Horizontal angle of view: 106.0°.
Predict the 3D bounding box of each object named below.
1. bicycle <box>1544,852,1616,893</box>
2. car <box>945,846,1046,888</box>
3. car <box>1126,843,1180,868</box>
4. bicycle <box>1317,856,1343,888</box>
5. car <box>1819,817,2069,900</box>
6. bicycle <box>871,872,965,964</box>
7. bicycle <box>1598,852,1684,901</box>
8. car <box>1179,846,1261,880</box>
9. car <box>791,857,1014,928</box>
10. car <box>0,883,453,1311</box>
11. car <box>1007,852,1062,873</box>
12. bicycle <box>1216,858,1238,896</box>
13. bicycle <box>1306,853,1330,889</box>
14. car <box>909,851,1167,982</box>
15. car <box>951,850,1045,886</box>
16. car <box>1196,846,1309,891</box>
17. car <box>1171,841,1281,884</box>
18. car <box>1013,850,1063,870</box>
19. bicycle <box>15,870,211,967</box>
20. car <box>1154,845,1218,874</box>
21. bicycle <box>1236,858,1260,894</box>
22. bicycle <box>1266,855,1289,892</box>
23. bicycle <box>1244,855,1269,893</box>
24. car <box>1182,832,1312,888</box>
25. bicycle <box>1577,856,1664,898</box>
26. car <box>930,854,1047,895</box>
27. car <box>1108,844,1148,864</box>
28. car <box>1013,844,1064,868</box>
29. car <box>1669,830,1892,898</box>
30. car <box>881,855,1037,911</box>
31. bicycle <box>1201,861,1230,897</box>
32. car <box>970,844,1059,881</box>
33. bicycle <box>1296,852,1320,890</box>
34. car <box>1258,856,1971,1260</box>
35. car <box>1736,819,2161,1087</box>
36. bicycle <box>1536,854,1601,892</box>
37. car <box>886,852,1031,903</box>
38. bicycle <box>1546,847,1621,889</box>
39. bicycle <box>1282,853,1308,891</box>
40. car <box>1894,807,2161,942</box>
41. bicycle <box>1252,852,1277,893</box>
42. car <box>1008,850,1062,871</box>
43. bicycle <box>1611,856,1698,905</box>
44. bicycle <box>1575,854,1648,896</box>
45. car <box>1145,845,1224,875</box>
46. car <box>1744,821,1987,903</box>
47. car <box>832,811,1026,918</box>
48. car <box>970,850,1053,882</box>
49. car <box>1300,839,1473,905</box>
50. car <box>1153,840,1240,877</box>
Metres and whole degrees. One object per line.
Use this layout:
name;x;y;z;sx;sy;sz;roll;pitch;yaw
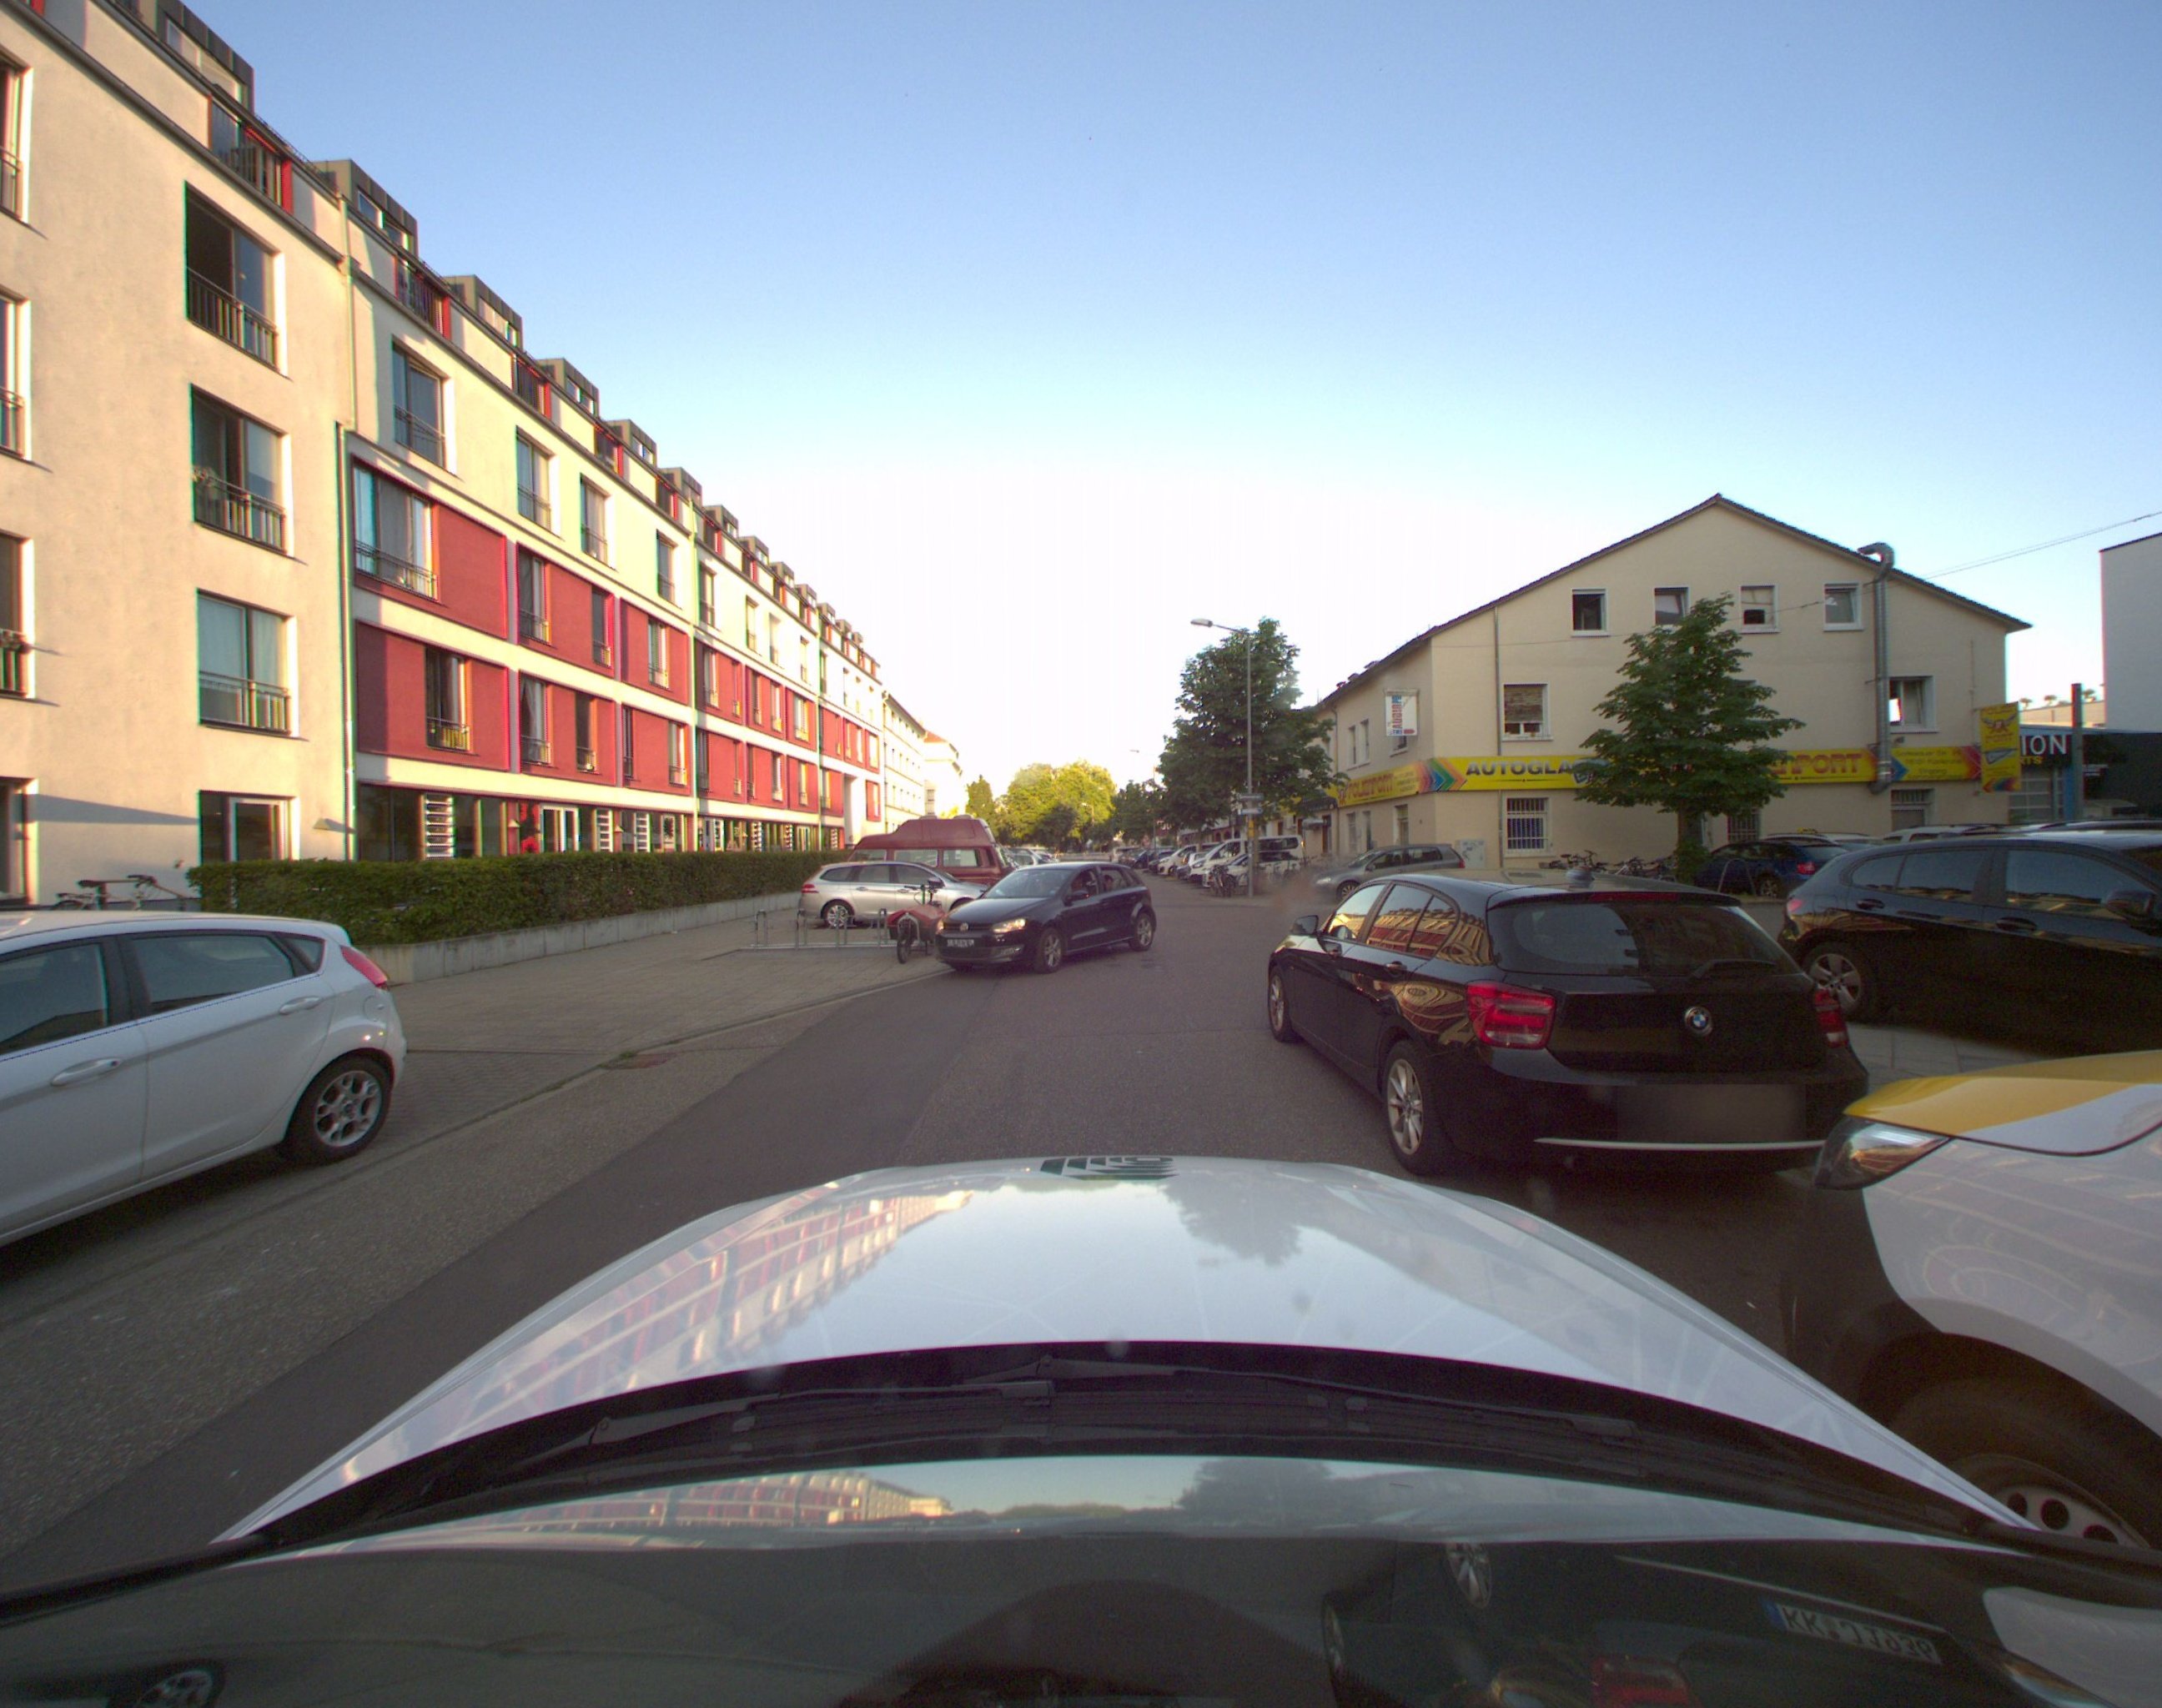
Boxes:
bicycle;13.456;0.488;21.986;1.725;1.070;0.343;0;2;-1
car;-3.769;0.562;36.399;4.242;1.836;2.000;0;0;0
car;6.339;0.147;71.971;4.470;1.911;1.685;-3;0;-4
bicycle;8.318;0.594;27.228;0.386;1.017;1.482;-2;0;1
car;22.190;0.148;21.264;1.866;1.902;4.331;-2;-1;0
bicycle;-2.501;0.931;12.908;0.804;1.221;2.867;0;0;2
bicycle;13.477;0.538;19.602;1.917;1.128;0.427;-1;1;-8
car;7.172;0.460;42.209;3.897;1.526;1.940;-3;0;1
car;-3.848;0.818;18.220;4.604;1.460;1.879;0;0;-3
car;-4.924;0.973;3.339;1.646;1.530;4.014;-1;0;-2
car;-3.639;0.687;64.141;4.243;1.622;2.000;0;0;0
bicycle;4.882;0.749;27.309;0.384;1.200;2.018;-2;0;1
bicycle;7.911;0.540;27.187;0.351;1.143;1.482;-2;0;1
car;-0.426;0.751;11.776;1.636;1.455;3.967;-1;1;34
car;-3.907;0.664;38.873;4.242;1.660;2.000;0;0;0
car;6.562;0.525;31.449;3.908;1.451;1.767;-3;0;-2
car;6.966;0.386;39.554;4.926;1.742;2.050;-3;0;1
car;-3.729;0.488;71.657;4.242;1.749;2.000;0;0;0
bicycle;-12.033;0.783;10.150;1.768;1.148;0.611;0;0;3
car;7.602;0.378;59.244;4.304;1.804;1.810;-3;0;-1
bicycle;5.590;0.722;27.334;0.384;1.114;2.018;-2;0;1
bicycle;6.549;0.632;27.162;0.384;1.200;1.482;-2;0;1
bicycle;5.871;0.643;27.317;0.384;1.200;2.018;-2;0;1
car;6.877;0.255;34.233;4.972;1.983;2.220;-3;0;1
bicycle;13.391;0.579;20.244;1.842;1.010;0.428;0;2;2
car;-3.454;0.753;30.974;4.194;1.490;1.850;0;0;1
car;5.016;0.013;87.448;3.960;1.911;2.046;-3;0;-4
car;-3.832;0.179;74.296;4.518;2.134;2.000;0;0;0
car;17.662;0.238;20.932;1.736;1.509;4.570;-2;0;-1
car;-3.419;0.792;23.364;4.197;1.538;1.790;0;0;-1
bicycle;4.463;0.804;27.127;0.437;1.130;2.014;-2;0;-4
car;-3.676;0.467;45.783;4.834;2.021;1.907;0;0;0
bicycle;7.550;0.551;27.110;0.351;1.200;1.482;-2;0;1
car;2.391;0.742;5.068;1.715;1.424;4.254;0;0;1
car;6.713;0.511;5.038;1.721;1.424;4.423;-3;0;0
bicycle;13.364;0.510;22.336;1.597;1.019;0.343;0;2;-1
car;-3.833;0.712;25.935;4.187;1.538;1.845;0;0;6
bicycle;14.094;0.399;22.851;1.853;1.149;0.344;0;2;2
bicycle;7.123;0.587;27.124;0.443;1.200;1.482;-2;0;1
car;14.406;0.242;11.342;4.306;1.672;1.877;-2;-1;-1
bicycle;6.131;0.593;27.324;0.384;1.304;2.018;-2;0;1
car;-3.760;0.523;66.885;4.242;1.714;2.000;0;0;0
bicycle;13.486;0.615;19.157;1.848;1.075;0.427;-1;2;-8
bicycle;13.525;0.542;20.770;1.596;1.041;0.344;0;2;2
car;6.890;0.391;54.345;4.930;1.689;2.076;-3;0;-1
car;19.889;0.124;21.004;1.866;1.831;4.577;-2;1;0
car;-3.776;0.244;20.798;4.493;2.584;2.001;0;0;2
car;-3.646;0.624;43.227;4.242;1.652;1.888;0;0;0
car;8.216;0.461;22.147;4.035;1.514;1.757;-3;2;1
car;6.991;0.263;49.544;4.930;1.958;2.048;-3;0;-1
